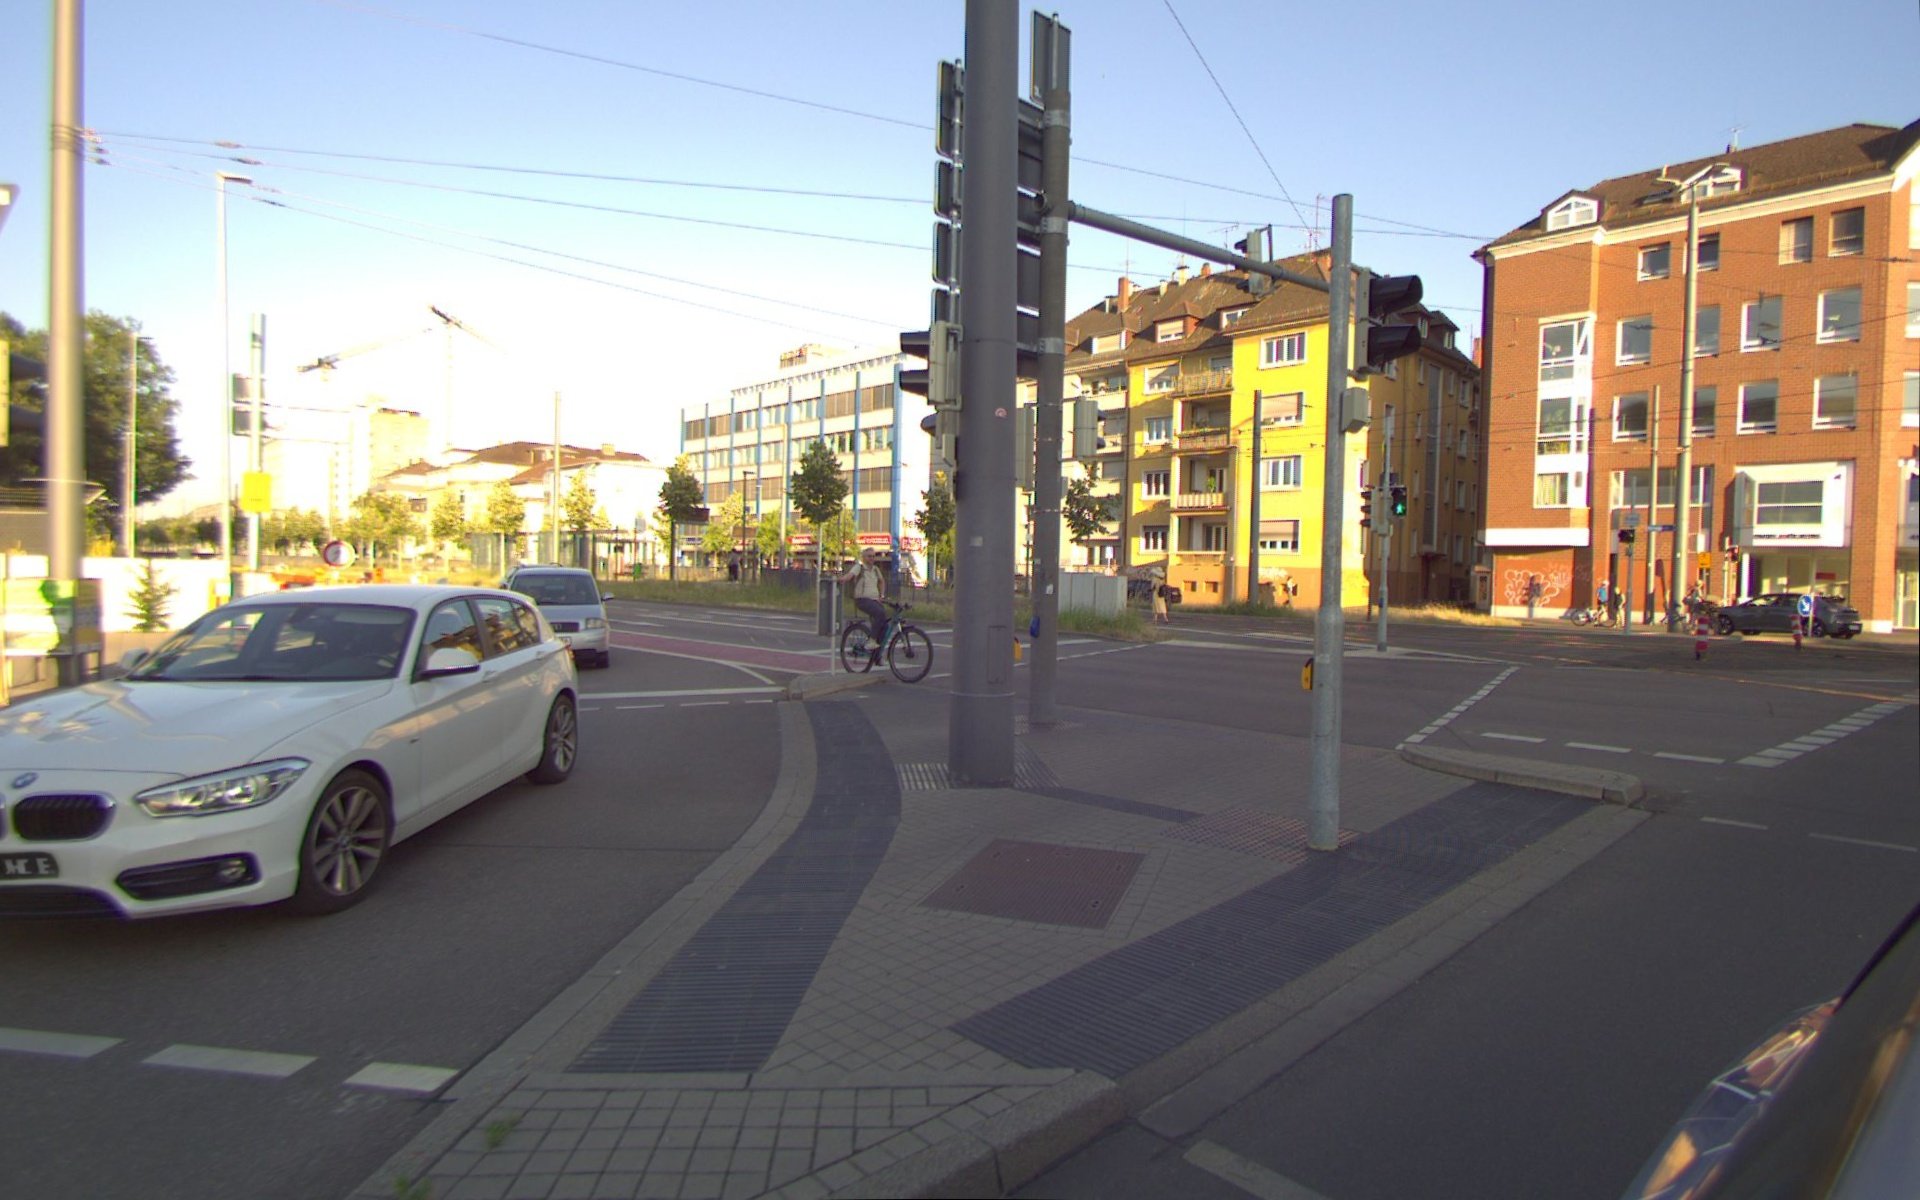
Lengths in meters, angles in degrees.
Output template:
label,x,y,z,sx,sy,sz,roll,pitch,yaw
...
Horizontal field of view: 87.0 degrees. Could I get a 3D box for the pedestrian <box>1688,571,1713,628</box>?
label,x,y,z,sx,sy,sz,roll,pitch,yaw
pedestrian,22.662,-0.014,30.976,0.510,1.729,0.415,2,1,26

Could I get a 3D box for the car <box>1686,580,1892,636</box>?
label,x,y,z,sx,sy,sz,roll,pitch,yaw
car,26.238,0.210,32.263,1.877,1.522,4.713,0,2,-22

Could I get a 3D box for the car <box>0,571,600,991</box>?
label,x,y,z,sx,sy,sz,roll,pitch,yaw
car,-3.662,0.586,5.719,1.879,1.423,4.308,0,2,-2

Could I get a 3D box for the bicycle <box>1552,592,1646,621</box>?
label,x,y,z,sx,sy,sz,roll,pitch,yaw
bicycle,25.498,0.239,40.422,3.051,1.030,0.918,3,2,41

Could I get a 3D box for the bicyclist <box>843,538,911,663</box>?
label,x,y,z,sx,sy,sz,roll,pitch,yaw
bicyclist,-1.163,-0.013,14.105,0.586,1.691,0.746,-1,2,-44

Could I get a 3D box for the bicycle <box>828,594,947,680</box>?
label,x,y,z,sx,sy,sz,roll,pitch,yaw
bicycle,-1.032,0.476,13.975,0.587,1.035,1.843,0,2,-44

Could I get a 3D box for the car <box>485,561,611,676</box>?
label,x,y,z,sx,sy,sz,roll,pitch,yaw
car,-6.560,0.184,16.295,1.646,1.580,3.735,-2,3,-21

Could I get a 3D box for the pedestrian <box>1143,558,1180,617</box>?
label,x,y,z,sx,sy,sz,roll,pitch,yaw
pedestrian,5.442,-0.345,27.366,0.693,1.560,0.638,0,2,-26

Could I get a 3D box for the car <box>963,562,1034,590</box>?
label,x,y,z,sx,sy,sz,roll,pitch,yaw
car,2.499,-1.583,66.289,2.085,1.726,4.338,0,3,-45

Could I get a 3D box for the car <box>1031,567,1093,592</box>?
label,x,y,z,sx,sy,sz,roll,pitch,yaw
car,6.301,-1.265,62.573,1.711,1.437,3.534,0,3,-45

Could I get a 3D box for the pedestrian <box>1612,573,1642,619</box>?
label,x,y,z,sx,sy,sz,roll,pitch,yaw
pedestrian,26.741,-0.166,40.564,0.869,1.800,0.904,2,2,41

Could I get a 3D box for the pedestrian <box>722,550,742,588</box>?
label,x,y,z,sx,sy,sz,roll,pitch,yaw
pedestrian,-9.795,-1.337,43.550,0.556,1.610,0.690,0,2,-40

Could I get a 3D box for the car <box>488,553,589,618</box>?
label,x,y,z,sx,sy,sz,roll,pitch,yaw
car,-11.815,-0.456,28.213,1.906,1.637,4.396,0,2,-32

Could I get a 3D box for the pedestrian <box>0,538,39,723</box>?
label,x,y,z,sx,sy,sz,roll,pitch,yaw
pedestrian,-9.508,0.283,9.530,0.807,1.757,0.943,1,2,5
